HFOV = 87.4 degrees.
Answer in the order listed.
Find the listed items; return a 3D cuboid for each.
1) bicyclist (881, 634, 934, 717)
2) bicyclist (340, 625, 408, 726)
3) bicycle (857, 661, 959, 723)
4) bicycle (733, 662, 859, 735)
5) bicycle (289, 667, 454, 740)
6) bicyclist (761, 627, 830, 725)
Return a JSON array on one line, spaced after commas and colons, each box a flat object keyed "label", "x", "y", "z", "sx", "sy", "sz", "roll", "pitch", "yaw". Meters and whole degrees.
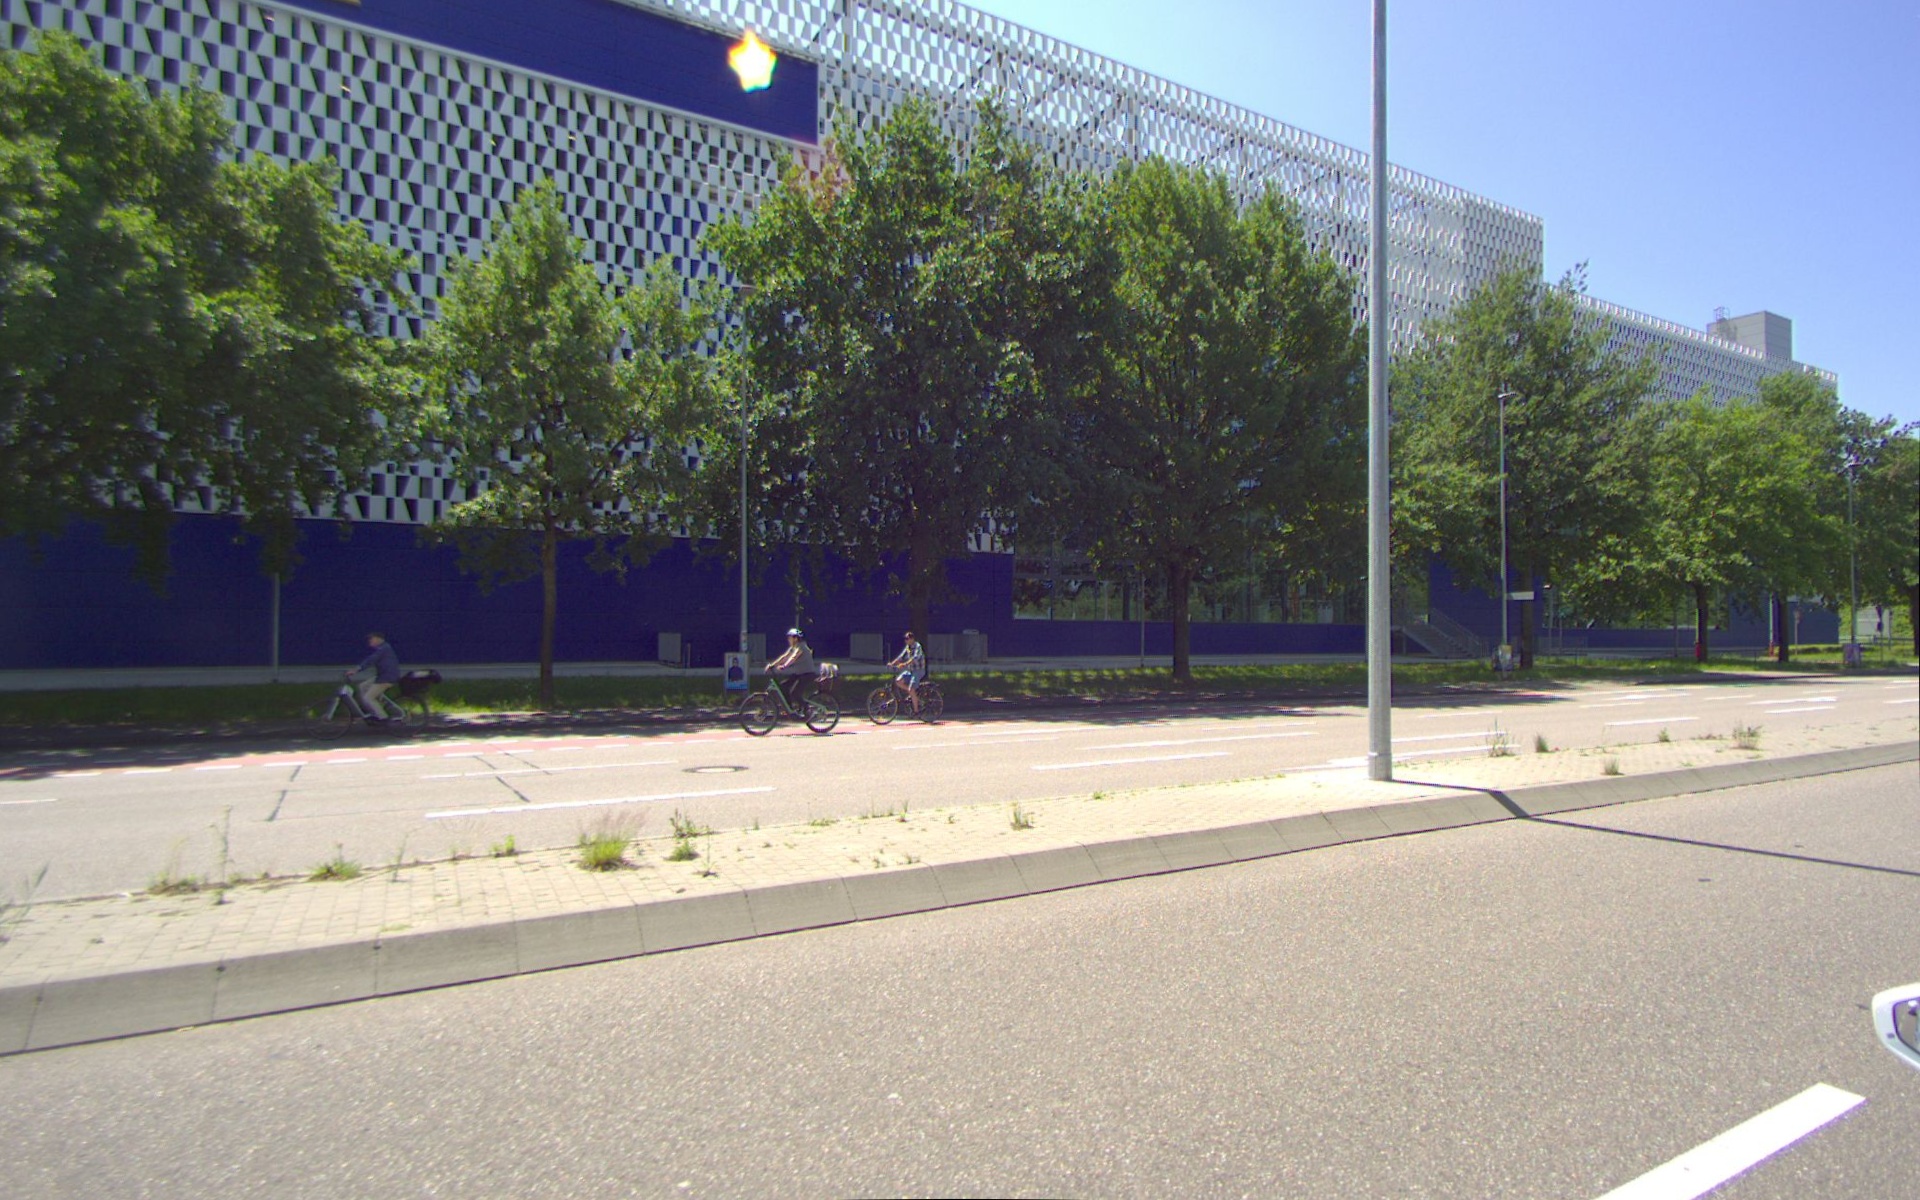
[{"label": "bicyclist", "x": -1.045, "y": 1.484, "z": 20.049, "sx": 0.873, "sy": 1.603, "sz": 0.634, "roll": 1, "pitch": -2, "yaw": -28}, {"label": "bicyclist", "x": -10.143, "y": 1.284, "z": 17.417, "sx": 0.940, "sy": 1.708, "sz": 0.742, "roll": 1, "pitch": -1, "yaw": -27}, {"label": "bicycle", "x": -1.031, "y": 1.814, "z": 20.039, "sx": 1.946, "sy": 1.148, "sz": 0.635, "roll": 1, "pitch": -2, "yaw": -28}, {"label": "bicycle", "x": -2.820, "y": 1.669, "z": 17.374, "sx": 2.093, "sy": 1.174, "sz": 0.626, "roll": 1, "pitch": -4, "yaw": -31}, {"label": "bicycle", "x": -10.129, "y": 1.769, "z": 17.414, "sx": 2.403, "sy": 1.140, "sz": 0.736, "roll": 1, "pitch": -2, "yaw": -28}, {"label": "bicyclist", "x": -2.842, "y": 1.298, "z": 17.378, "sx": 1.033, "sy": 1.650, "sz": 0.631, "roll": 1, "pitch": -3, "yaw": -31}]
